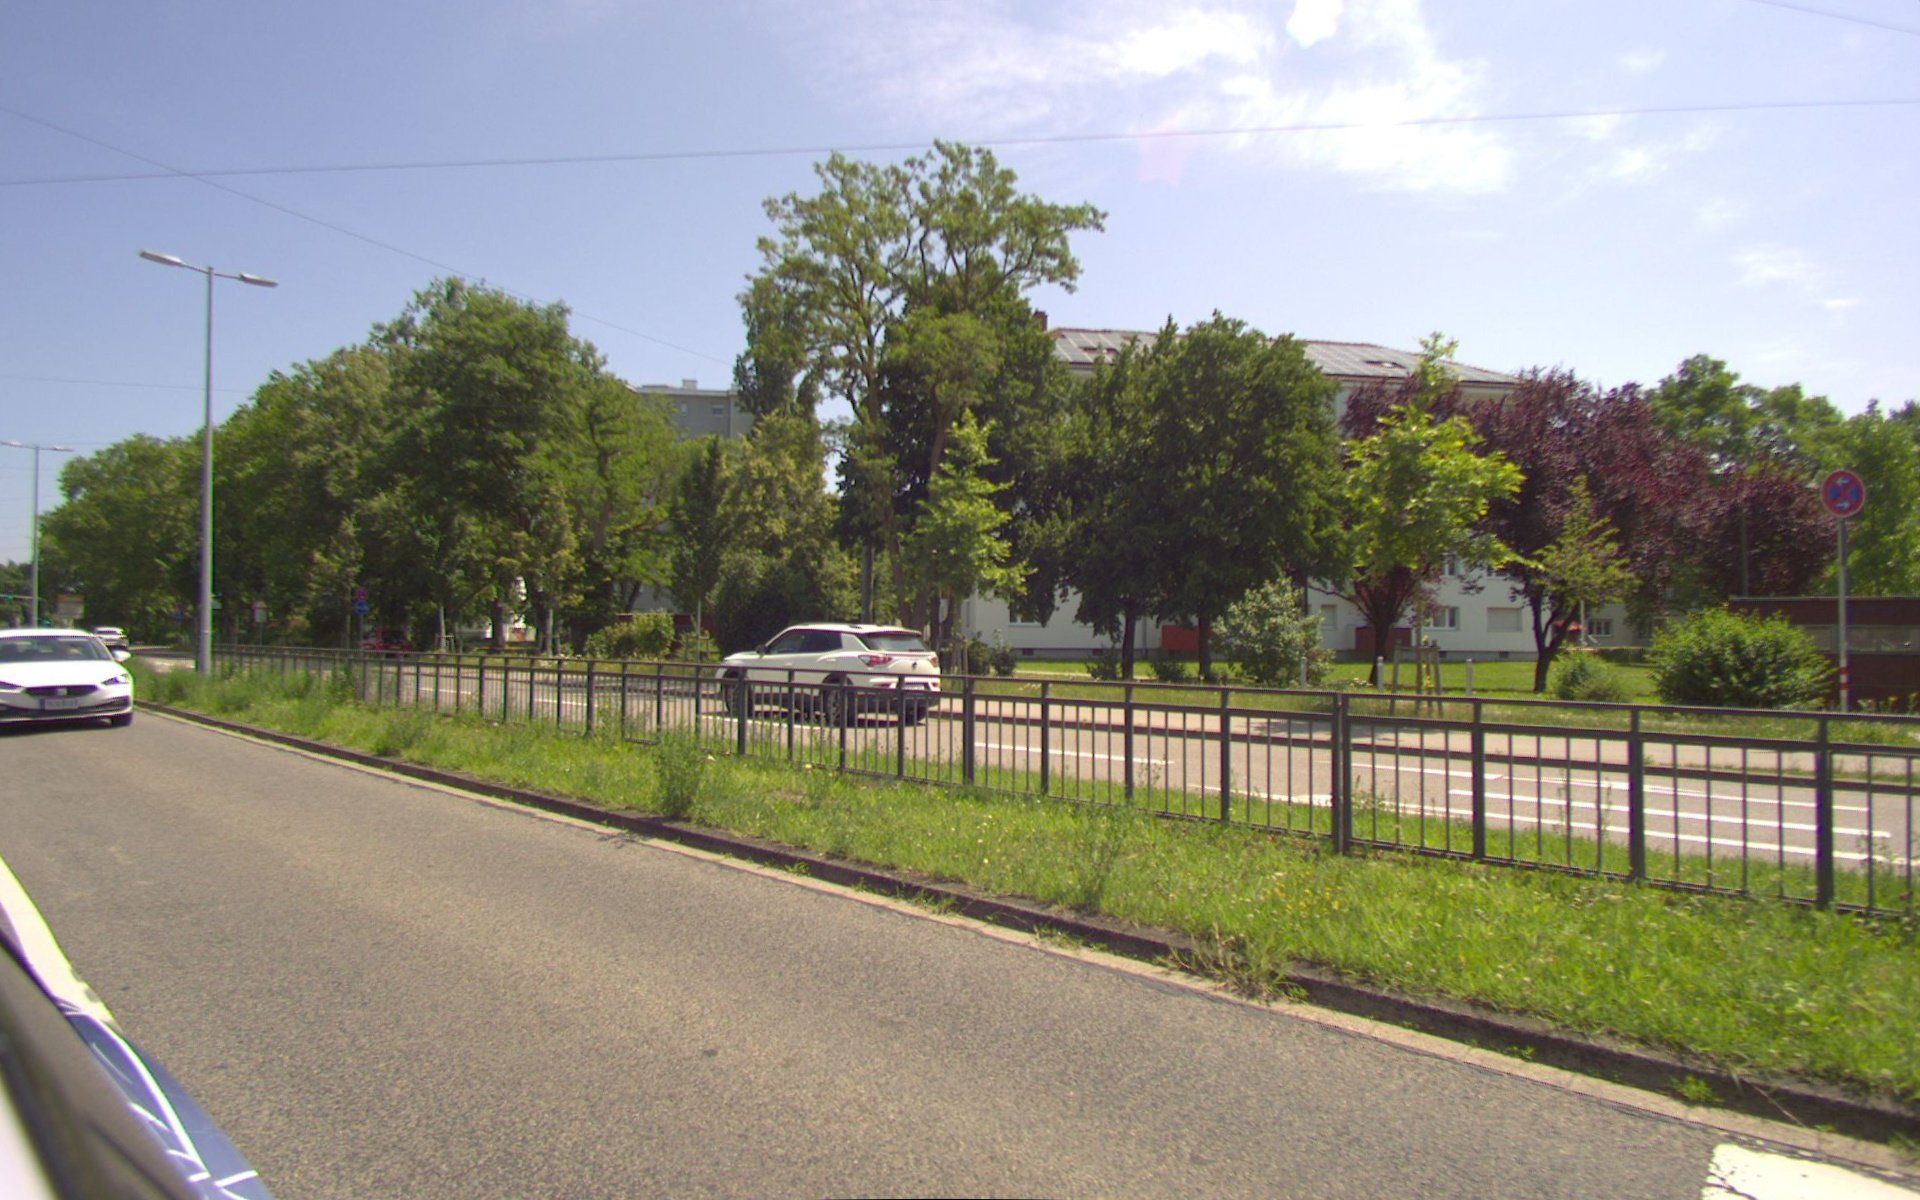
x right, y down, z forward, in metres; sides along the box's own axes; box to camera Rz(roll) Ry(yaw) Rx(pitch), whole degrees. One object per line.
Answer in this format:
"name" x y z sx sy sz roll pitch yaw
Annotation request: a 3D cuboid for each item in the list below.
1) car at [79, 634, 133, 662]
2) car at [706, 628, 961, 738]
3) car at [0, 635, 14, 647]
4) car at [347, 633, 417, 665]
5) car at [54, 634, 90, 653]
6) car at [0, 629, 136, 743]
"car" -55.059 3.088 65.205 4.476 1.772 1.840 -2 -4 40
"car" -2.223 1.295 17.124 4.343 1.584 1.802 -1 -2 40
"car" -123.105 5.307 130.235 4.636 1.520 1.721 -2 -4 44
"car" -30.205 2.526 52.838 3.999 1.597 1.972 -2 -3 42
"car" -76.676 3.764 87.389 4.081 1.566 1.749 -2 -3 41
"car" -13.895 1.197 15.177 4.110 1.479 1.749 -2 -1 41
